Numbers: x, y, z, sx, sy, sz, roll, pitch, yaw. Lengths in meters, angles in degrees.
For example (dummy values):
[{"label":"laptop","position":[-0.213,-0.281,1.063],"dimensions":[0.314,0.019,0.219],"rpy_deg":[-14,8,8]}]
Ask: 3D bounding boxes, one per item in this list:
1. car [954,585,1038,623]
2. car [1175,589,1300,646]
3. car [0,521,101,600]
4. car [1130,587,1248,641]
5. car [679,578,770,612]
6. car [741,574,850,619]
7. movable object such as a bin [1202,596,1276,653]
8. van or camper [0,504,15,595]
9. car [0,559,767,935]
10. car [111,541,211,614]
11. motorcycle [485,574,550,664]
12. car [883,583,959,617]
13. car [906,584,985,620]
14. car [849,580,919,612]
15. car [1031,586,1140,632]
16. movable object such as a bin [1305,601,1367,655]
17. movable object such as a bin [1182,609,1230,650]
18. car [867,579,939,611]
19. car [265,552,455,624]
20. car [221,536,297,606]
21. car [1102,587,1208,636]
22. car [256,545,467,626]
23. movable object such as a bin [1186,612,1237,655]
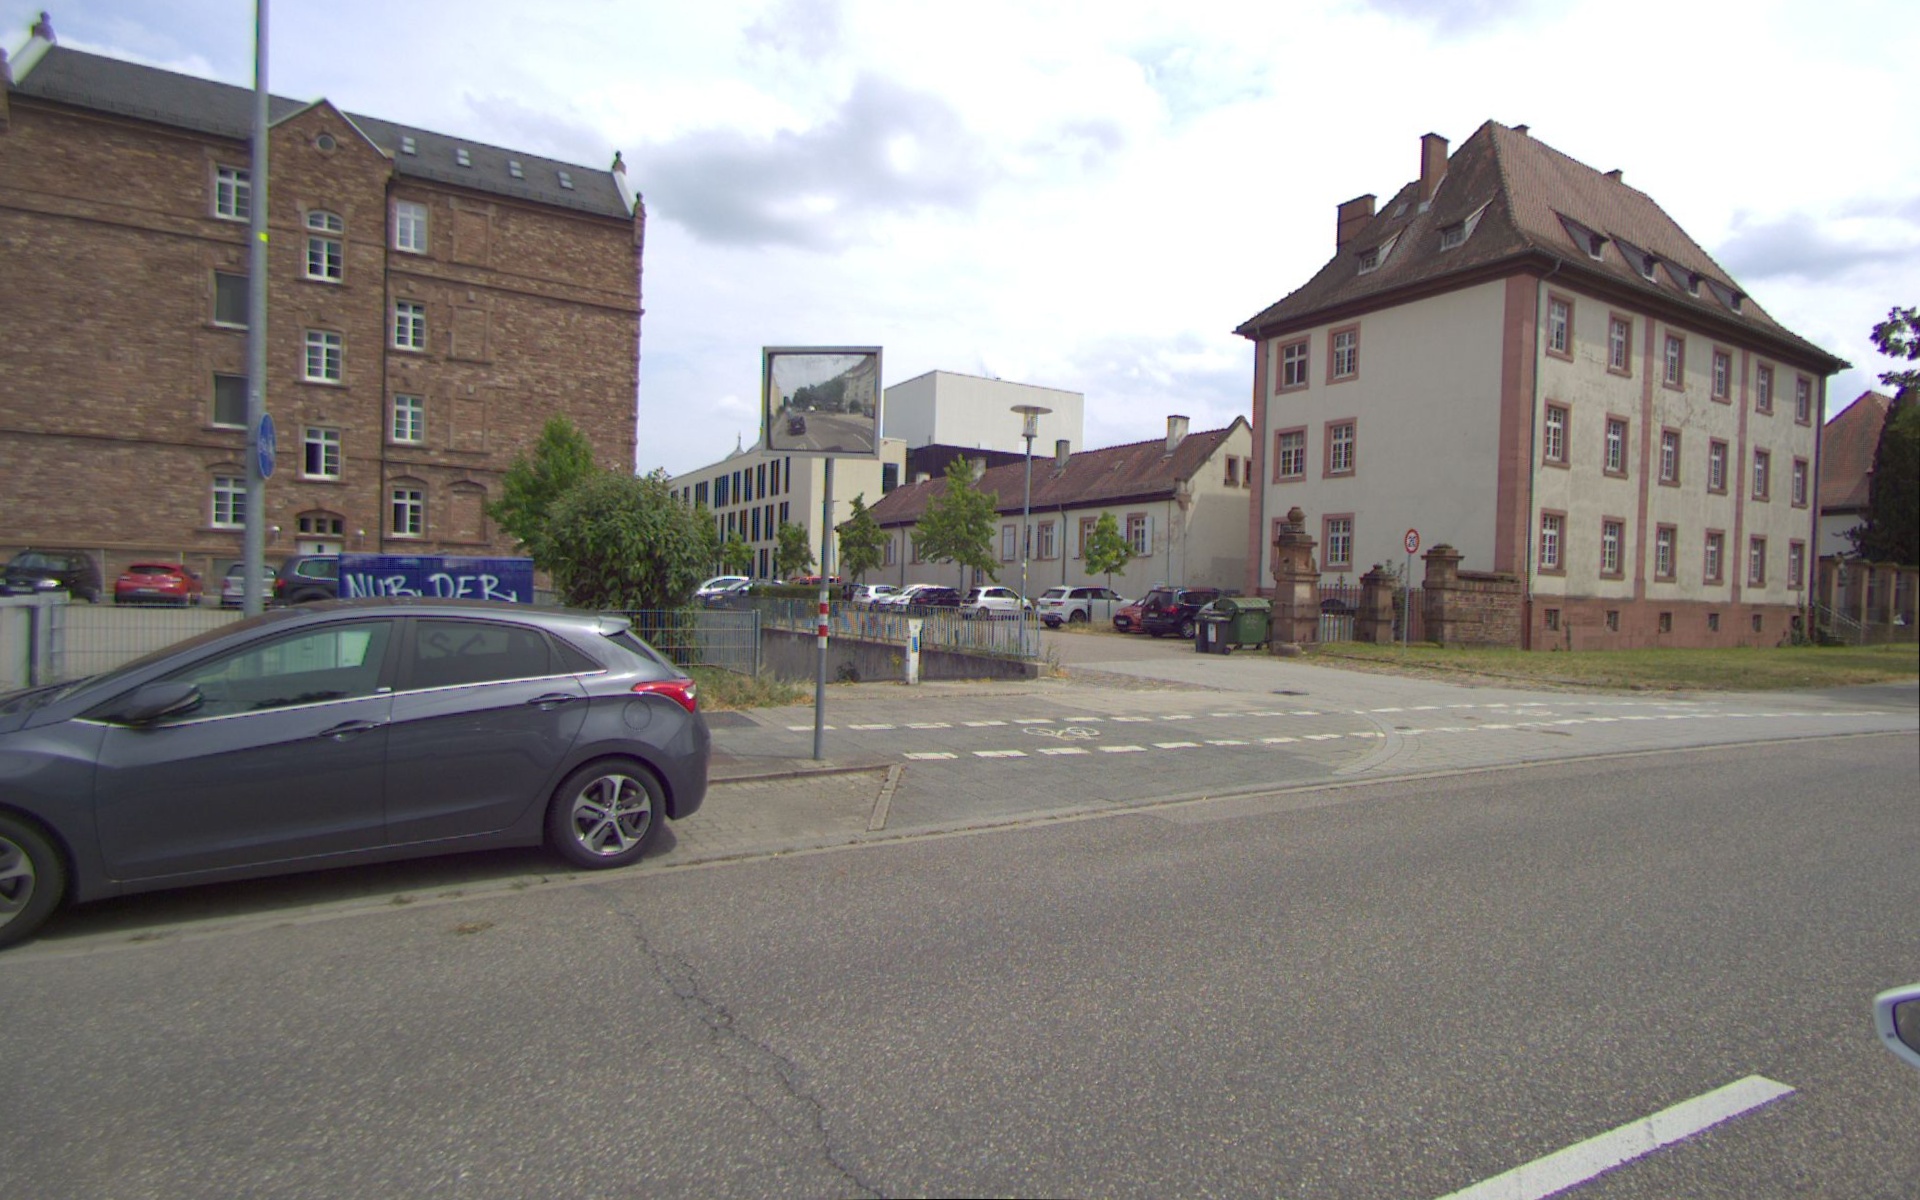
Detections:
[{"label":"car","position":[1.711,0.154,47.737],"dimensions":[3.652,1.734,1.758],"rpy_deg":[-1,2,-30]},{"label":"car","position":[9.166,0.529,33.169],"dimensions":[3.911,1.734,1.758],"rpy_deg":[-1,2,-30]},{"label":"car","position":[-27.603,-1.125,30.282],"dimensions":[1.706,2.165,4.341],"rpy_deg":[2,-1,-29]},{"label":"car","position":[8.027,0.438,35.154],"dimensions":[3.911,1.734,1.758],"rpy_deg":[-1,2,-30]},{"label":"car","position":[-11.701,-0.256,49.975],"dimensions":[4.117,1.571,1.577],"rpy_deg":[1,1,-29]},{"label":"car","position":[-6.747,-0.142,41.239],"dimensions":[4.116,1.734,1.577],"rpy_deg":[1,1,-29]},{"label":"movable object such as a bin","position":[7.701,0.680,27.752],"dimensions":[1.552,1.487,1.196],"rpy_deg":[2,0,-30]},{"label":"van or camper","position":[-29.441,-1.537,28.698],"dimensions":[2.553,2.739,5.020],"rpy_deg":[2,0,-32]},{"label":"car","position":[-3.436,0.618,5.564],"dimensions":[4.252,1.493,1.811],"rpy_deg":[2,3,-34]},{"label":"car","position":[-25.636,-0.670,32.369],"dimensions":[1.783,2.165,4.341],"rpy_deg":[2,-1,-29]},{"label":"motorcycle","position":[-6.224,0.263,14.075],"dimensions":[0.716,1.157,2.083],"rpy_deg":[2,-1,-26]},{"label":"car","position":[-2.079,-0.044,53.639],"dimensions":[3.652,1.734,1.758],"rpy_deg":[-1,2,-30]},{"label":"car","position":[-0.717,0.086,50.729],"dimensions":[3.652,1.734,1.758],"rpy_deg":[-1,2,-30]},{"label":"car","position":[-4.343,-0.267,57.405],"dimensions":[3.652,1.734,1.758],"rpy_deg":[-1,2,-30]},{"label":"car","position":[5.132,0.318,40.912],"dimensions":[4.239,1.734,1.758],"rpy_deg":[-1,2,-30]},{"label":"movable object such as a bin","position":[10.987,0.805,29.338],"dimensions":[1.310,1.487,1.566],"rpy_deg":[3,0,35]},{"label":"movable object such as a bin","position":[6.637,0.787,27.117],"dimensions":[0.701,1.047,1.033],"rpy_deg":[2,0,-30]},{"label":"car","position":[-3.151,-0.317,55.682],"dimensions":[3.652,1.734,1.758],"rpy_deg":[-1,2,-30]},{"label":"car","position":[-16.040,-0.308,27.010],"dimensions":[4.190,1.678,1.952],"rpy_deg":[3,0,-33]},{"label":"car","position":[-23.670,-0.912,34.047],"dimensions":[1.706,2.165,4.340],"rpy_deg":[2,-1,-30]},{"label":"car","position":[7.280,0.390,37.517],"dimensions":[3.652,1.734,1.758],"rpy_deg":[-1,2,-30]},{"label":"car","position":[-14.449,-0.322,24.412],"dimensions":[4.190,1.678,1.952],"rpy_deg":[3,0,-33]},{"label":"movable object such as a bin","position":[6.421,0.855,25.676],"dimensions":[0.701,1.047,1.033],"rpy_deg":[2,0,-30]}]
